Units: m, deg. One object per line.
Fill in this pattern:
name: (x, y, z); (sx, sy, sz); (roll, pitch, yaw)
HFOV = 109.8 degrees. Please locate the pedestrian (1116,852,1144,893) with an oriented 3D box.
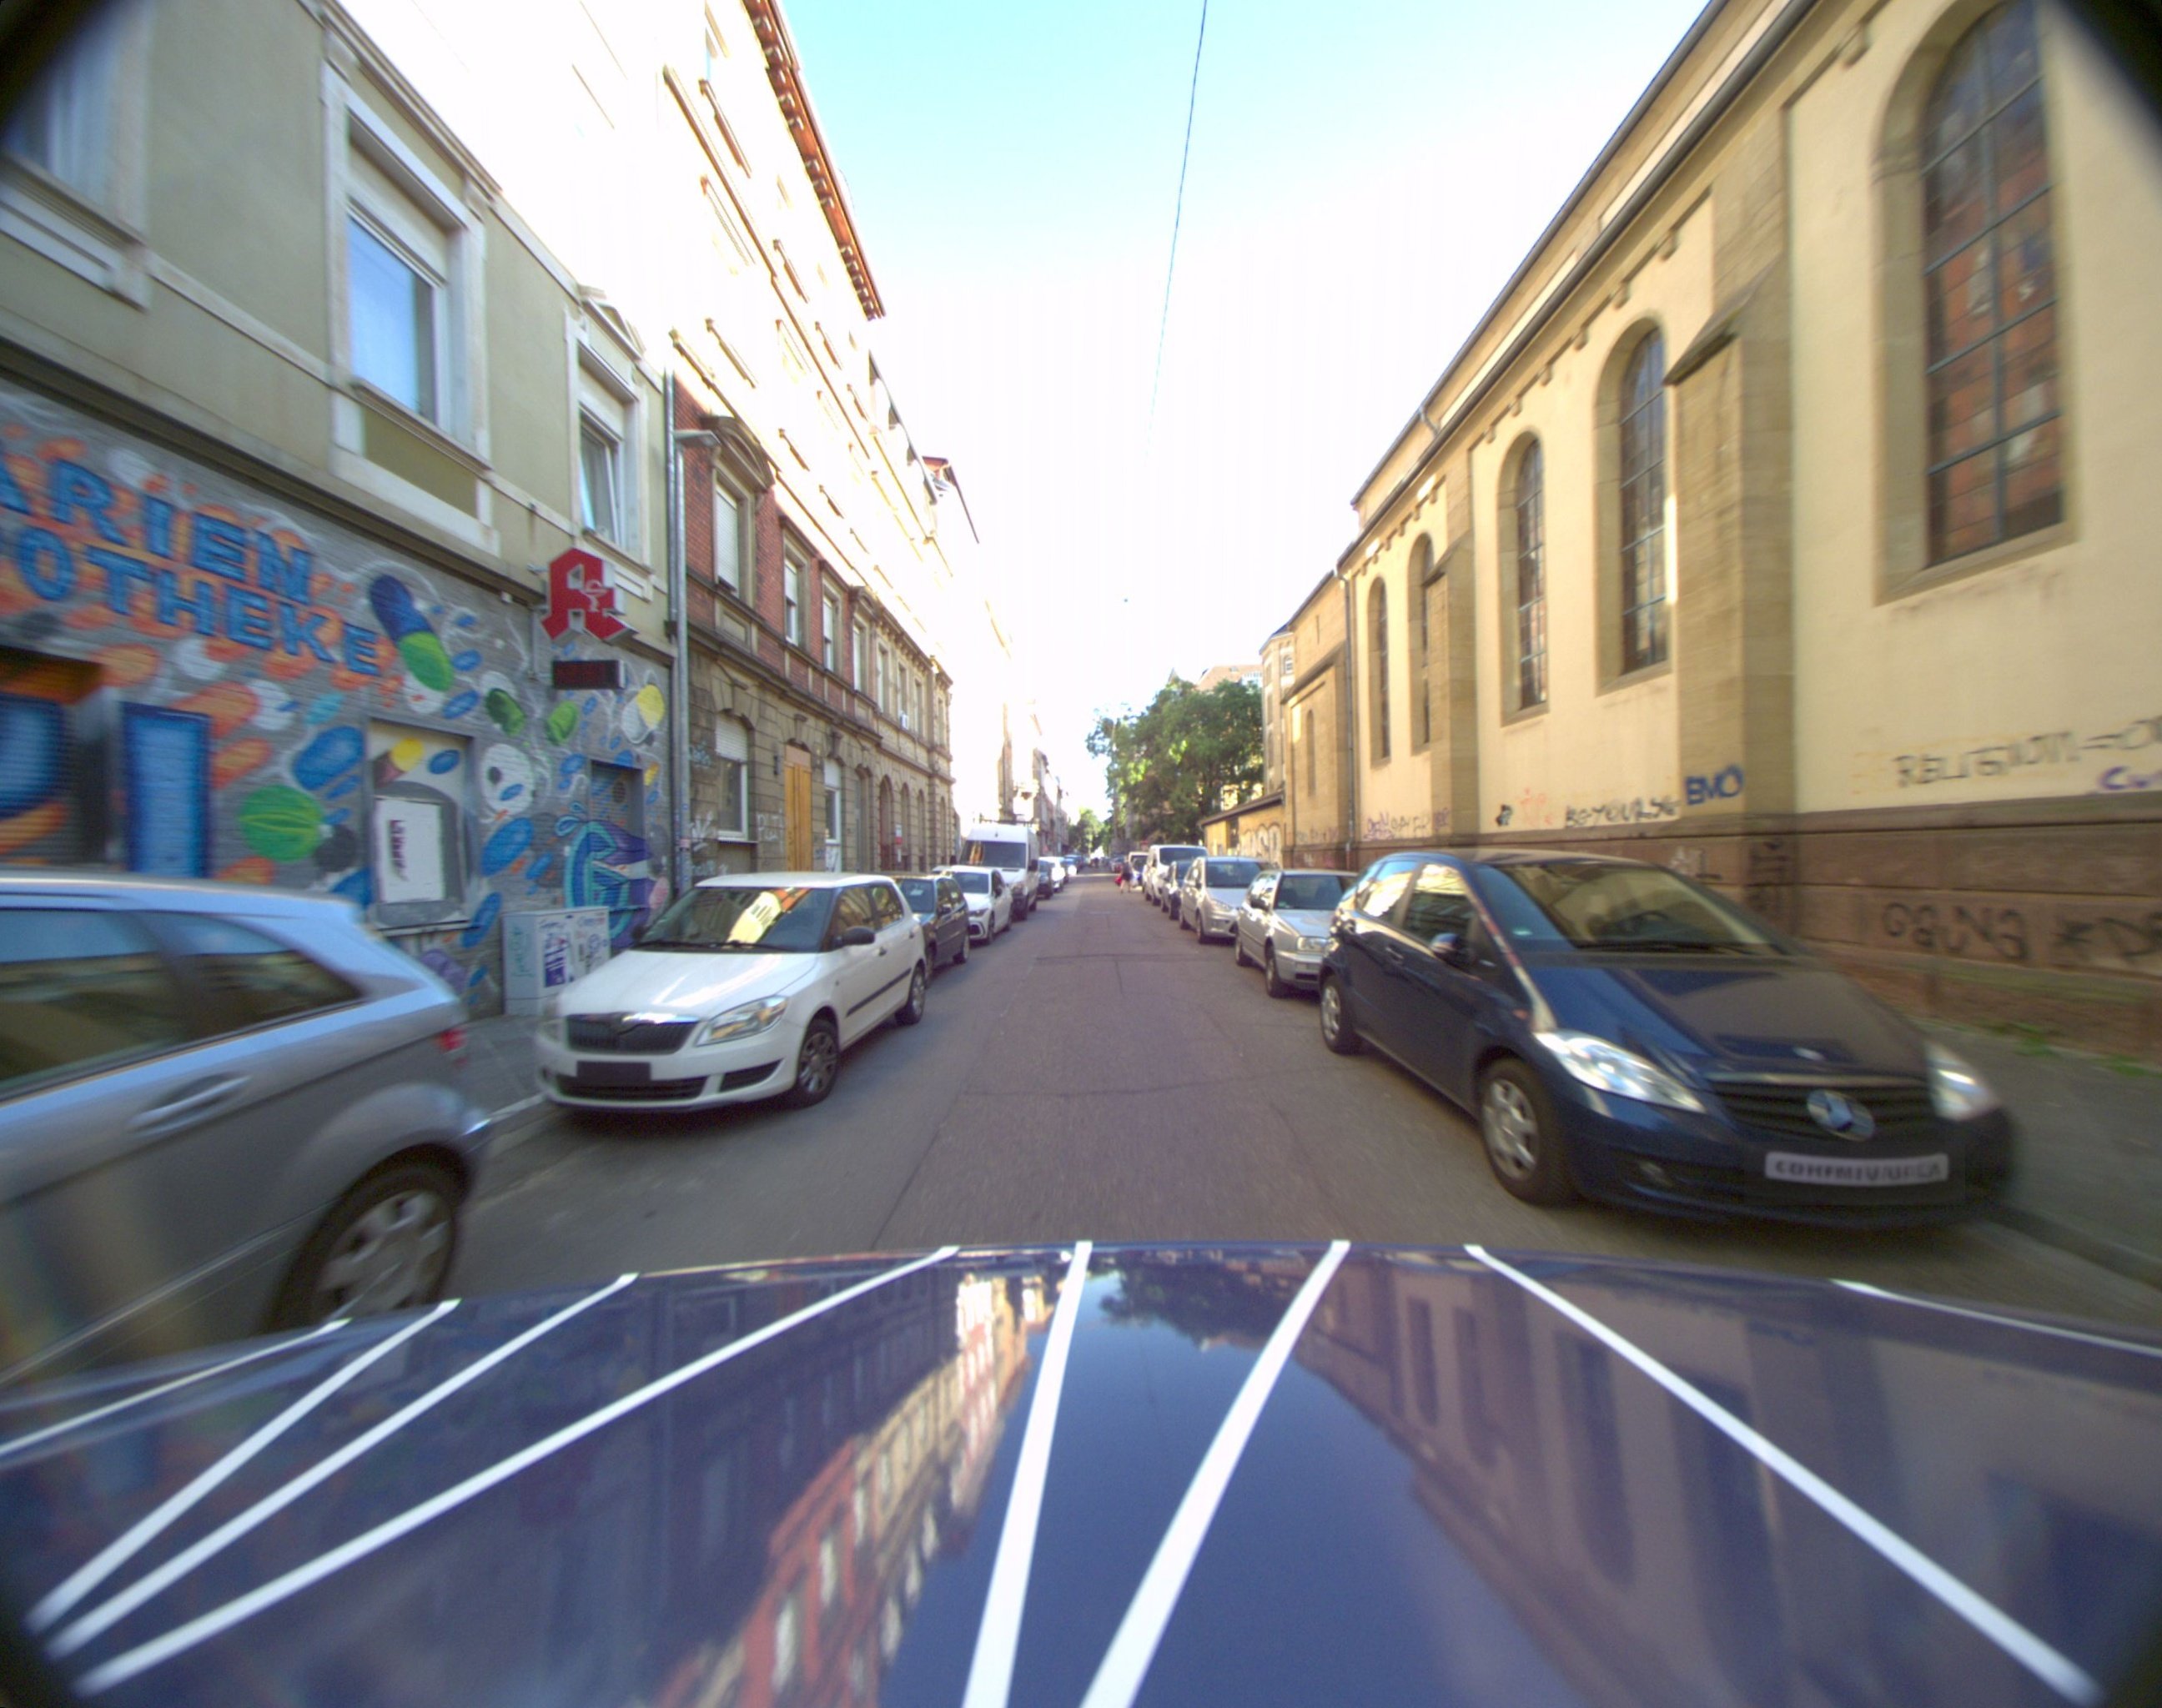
pedestrian: (2.154, 0.814, 33.183); (0.827, 1.703, 0.876); (-3, 0, 32)

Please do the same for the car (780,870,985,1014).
car: (-2.543, 1.064, 10.727); (1.590, 1.478, 3.913); (-2, 1, 4)

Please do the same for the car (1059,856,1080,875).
car: (-1.042, 0.978, 68.984); (1.696, 1.615, 3.963); (-2, 0, 2)

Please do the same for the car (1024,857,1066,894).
car: (-1.667, 0.992, 36.270); (1.696, 1.615, 3.963); (-2, 0, 2)

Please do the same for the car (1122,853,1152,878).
car: (3.844, 0.777, 52.720); (1.777, 1.614, 4.022); (-2, 0, 0)

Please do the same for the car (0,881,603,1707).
car: (-3.002, 0.993, 0.953); (1.803, 1.641, 4.486); (-2, 1, 2)

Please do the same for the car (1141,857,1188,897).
car: (3.507, 0.920, 32.462); (1.653, 1.557, 3.641); (-2, 0, 2)

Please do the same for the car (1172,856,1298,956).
car: (2.815, 0.885, 14.739); (1.724, 1.558, 4.000); (-2, 1, 2)

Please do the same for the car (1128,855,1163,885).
car: (3.514, 0.821, 41.834); (1.696, 1.529, 3.813); (-2, 0, 2)

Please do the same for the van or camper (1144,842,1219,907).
van or camper: (3.251, 0.636, 25.479); (1.984, 1.939, 4.563); (-2, 0, 2)

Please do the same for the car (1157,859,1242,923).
car: (3.013, 0.898, 20.003); (1.696, 1.472, 3.737); (-2, 0, 2)

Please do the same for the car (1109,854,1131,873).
car: (3.609, 0.870, 71.232); (1.777, 1.614, 4.022); (-2, 0, 0)

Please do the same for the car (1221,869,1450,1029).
car: (2.837, 0.964, 9.401); (1.576, 1.356, 4.146); (-2, 1, 3)

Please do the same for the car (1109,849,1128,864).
car: (4.038, 0.270, 82.418); (1.777, 1.614, 4.022); (-2, 0, 0)

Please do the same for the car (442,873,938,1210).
car: (-2.376, 1.007, 5.951); (1.558, 1.517, 4.200); (-2, 1, 2)

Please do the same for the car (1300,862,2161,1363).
car: (2.705, 0.890, 4.439); (1.798, 1.543, 3.834); (-2, 1, 2)

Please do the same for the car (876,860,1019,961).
car: (-2.557, 1.028, 15.762); (1.998, 1.637, 4.563); (-2, 1, 2)

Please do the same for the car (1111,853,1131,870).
car: (3.980, 0.755, 75.881); (1.777, 1.614, 4.022); (-2, 0, 0)

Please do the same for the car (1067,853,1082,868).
car: (-0.747, 0.784, 89.620); (1.696, 1.705, 3.963); (-1, 0, 2)

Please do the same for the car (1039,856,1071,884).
car: (-1.586, 0.961, 47.157); (1.696, 1.615, 3.963); (-2, 0, 2)

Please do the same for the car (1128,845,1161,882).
car: (3.909, 0.568, 47.238); (1.777, 2.128, 4.023); (-2, 0, 2)

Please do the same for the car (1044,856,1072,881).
car: (-1.566, 0.949, 52.425); (1.696, 1.615, 3.963); (-2, 0, 2)

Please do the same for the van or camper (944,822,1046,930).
van or camper: (-2.277, 0.526, 21.895); (1.998, 2.617, 5.979); (-2, 1, 2)

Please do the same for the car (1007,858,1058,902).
car: (-1.893, 1.013, 30.862); (1.696, 1.615, 3.813); (-2, 0, 2)
